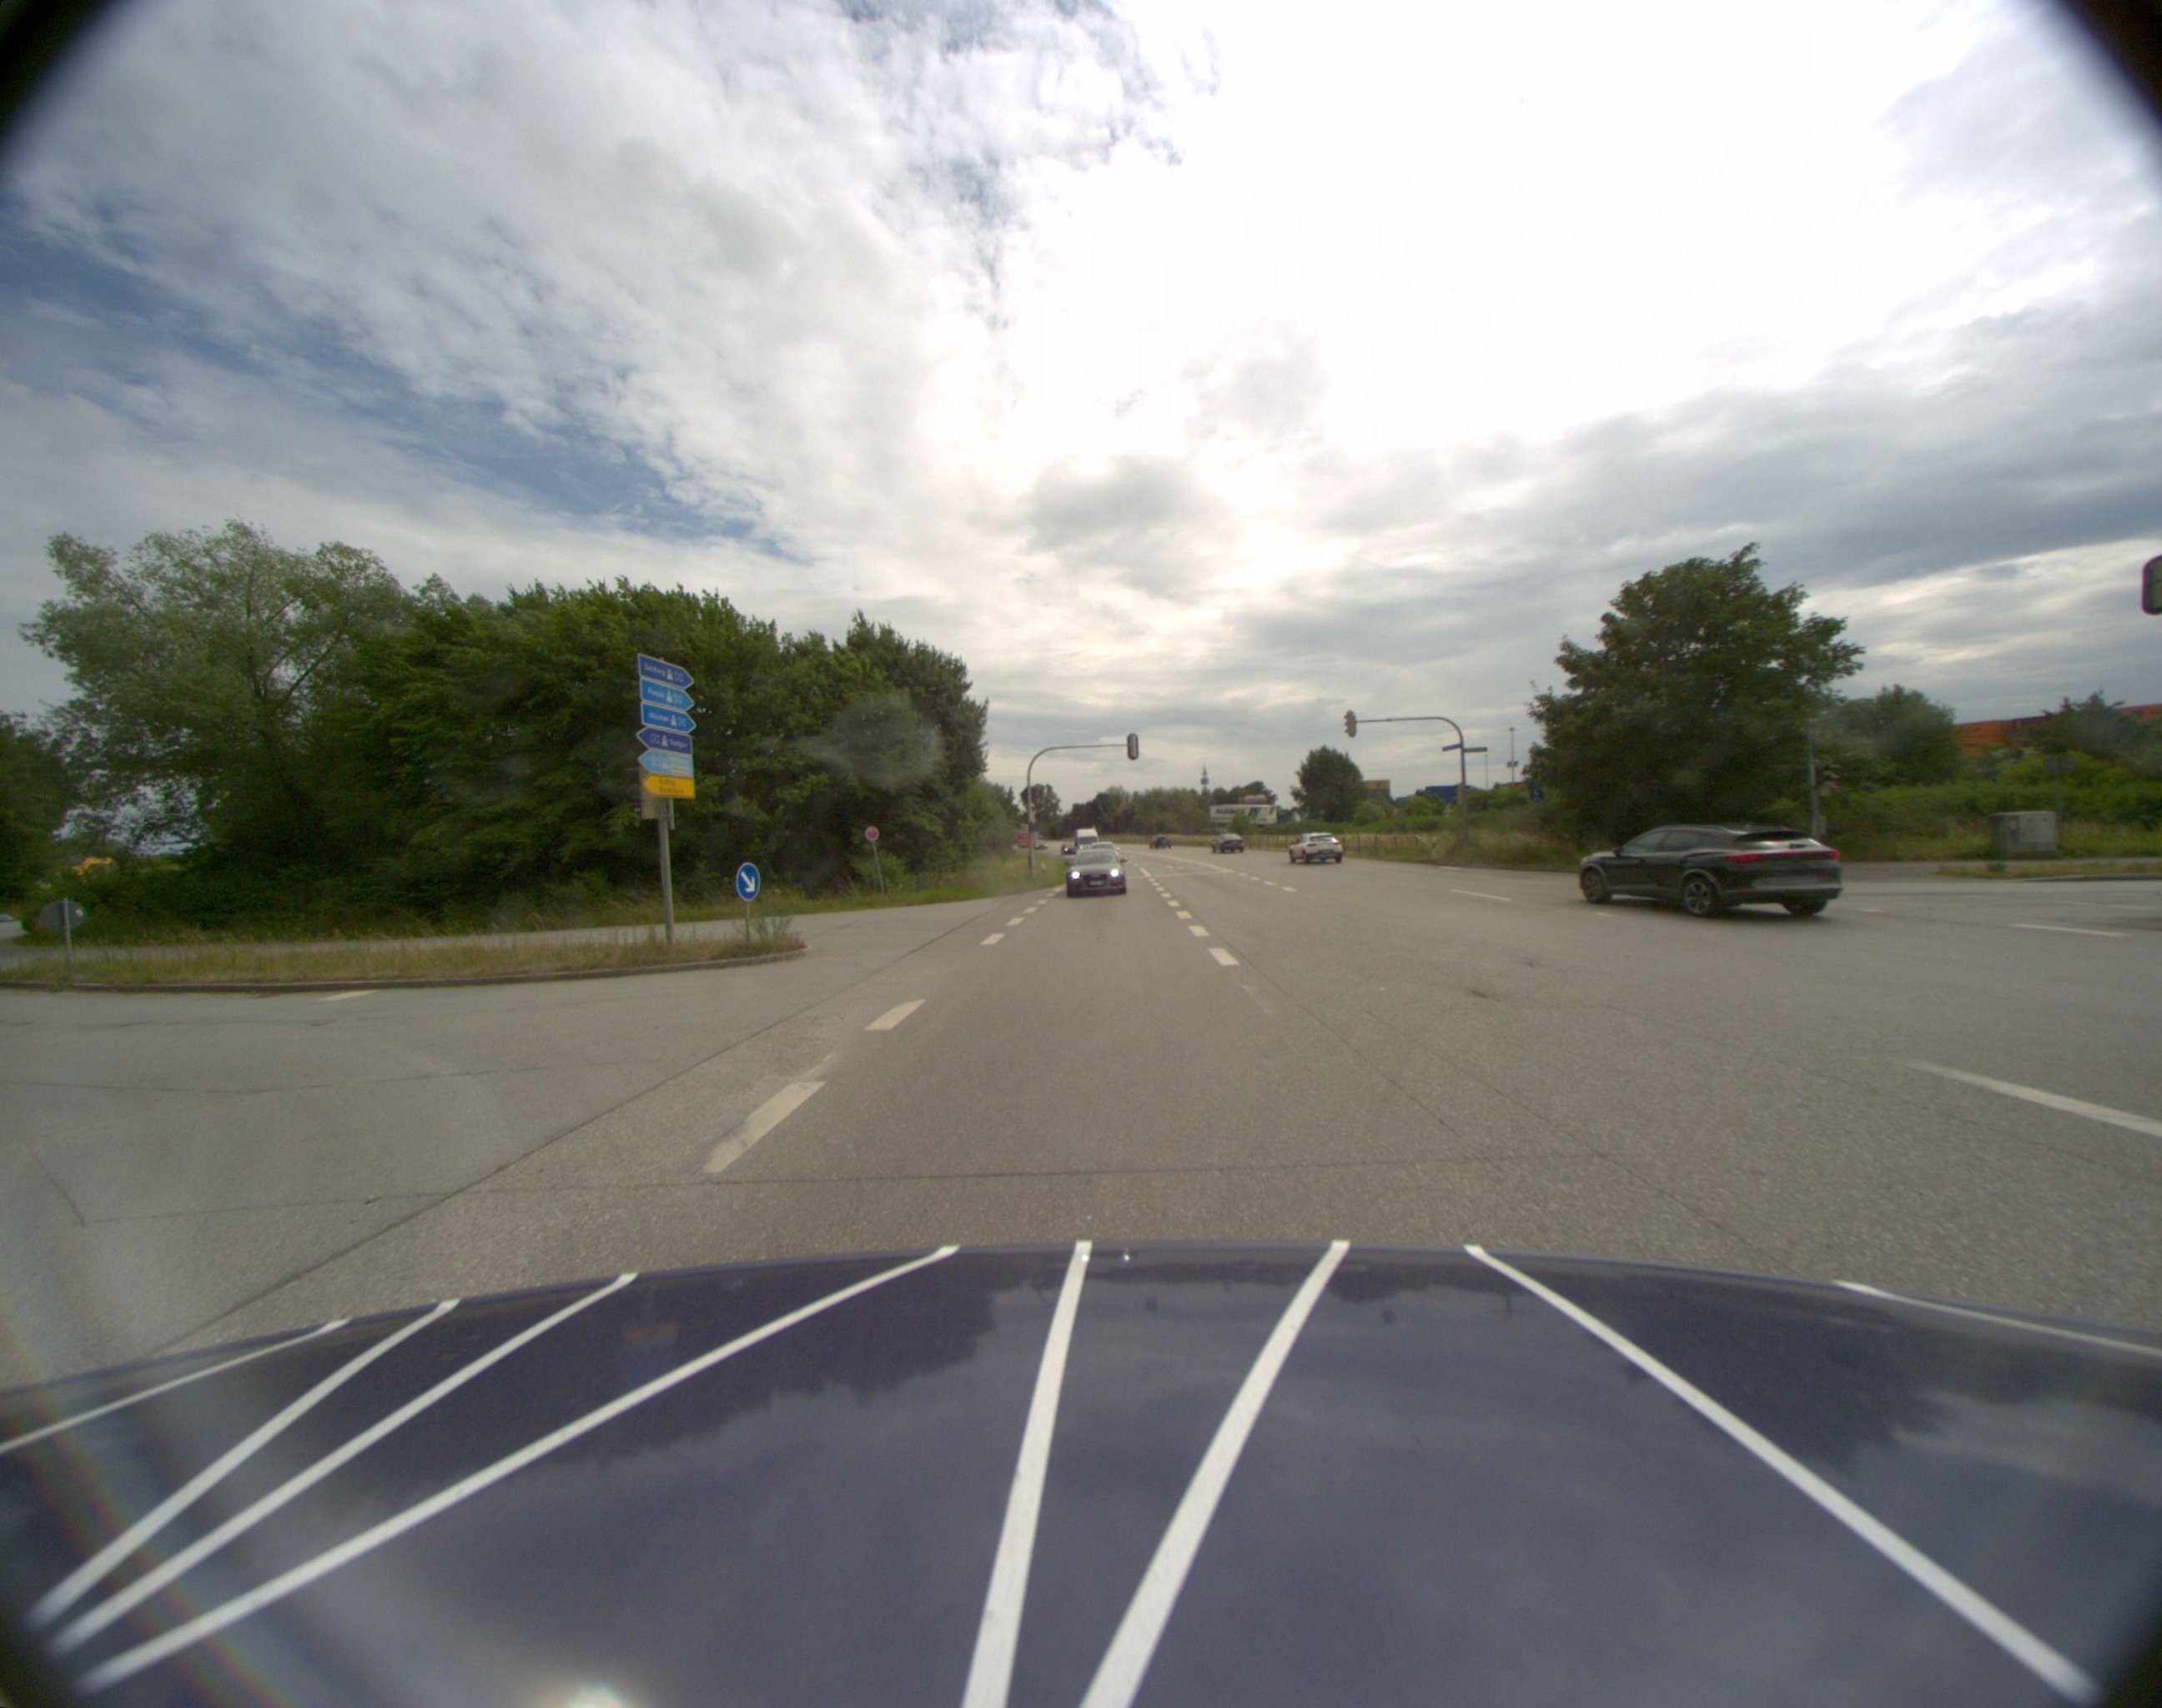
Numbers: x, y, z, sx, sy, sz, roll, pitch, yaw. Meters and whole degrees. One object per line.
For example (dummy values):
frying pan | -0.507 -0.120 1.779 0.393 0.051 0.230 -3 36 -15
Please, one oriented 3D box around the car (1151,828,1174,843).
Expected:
car | 9.464 -2.143 88.529 1.797 1.565 3.997 -3 2 -5

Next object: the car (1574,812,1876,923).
car | 10.854 0.134 13.298 1.767 1.574 4.202 -2 2 1

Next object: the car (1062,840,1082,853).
car | -1.023 -0.909 86.424 1.732 1.357 3.996 -2 2 -7

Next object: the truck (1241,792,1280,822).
truck | 32.643 -8.510 138.357 2.808 4.970 6.173 -6 4 -38

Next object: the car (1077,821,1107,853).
car | 1.037 -1.622 69.587 2.218 2.656 5.238 -5 2 4

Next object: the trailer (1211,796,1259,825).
trailer | 28.928 -8.086 143.206 2.811 4.970 8.959 -6 4 -38

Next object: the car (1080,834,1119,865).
car | 1.063 -0.329 46.971 2.021 1.604 4.277 -4 3 -3

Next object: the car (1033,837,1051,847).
car | -5.861 -1.785 114.296 1.733 1.357 3.993 -3 2 -18

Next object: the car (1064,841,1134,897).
car | 0.583 0.397 23.708 1.957 1.527 4.000 -2 1 2

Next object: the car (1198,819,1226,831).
car | 22.739 -5.029 132.044 4.538 1.866 2.001 -3 3 13

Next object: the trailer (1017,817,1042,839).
trailer | -10.273 -5.220 151.596 2.538 4.078 6.719 -4 3 -25

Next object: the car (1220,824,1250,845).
car | 12.568 -1.640 62.236 1.792 1.521 4.903 -3 2 5

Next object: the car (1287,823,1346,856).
car | 11.620 -0.733 37.775 1.733 1.496 4.346 -2 2 2
